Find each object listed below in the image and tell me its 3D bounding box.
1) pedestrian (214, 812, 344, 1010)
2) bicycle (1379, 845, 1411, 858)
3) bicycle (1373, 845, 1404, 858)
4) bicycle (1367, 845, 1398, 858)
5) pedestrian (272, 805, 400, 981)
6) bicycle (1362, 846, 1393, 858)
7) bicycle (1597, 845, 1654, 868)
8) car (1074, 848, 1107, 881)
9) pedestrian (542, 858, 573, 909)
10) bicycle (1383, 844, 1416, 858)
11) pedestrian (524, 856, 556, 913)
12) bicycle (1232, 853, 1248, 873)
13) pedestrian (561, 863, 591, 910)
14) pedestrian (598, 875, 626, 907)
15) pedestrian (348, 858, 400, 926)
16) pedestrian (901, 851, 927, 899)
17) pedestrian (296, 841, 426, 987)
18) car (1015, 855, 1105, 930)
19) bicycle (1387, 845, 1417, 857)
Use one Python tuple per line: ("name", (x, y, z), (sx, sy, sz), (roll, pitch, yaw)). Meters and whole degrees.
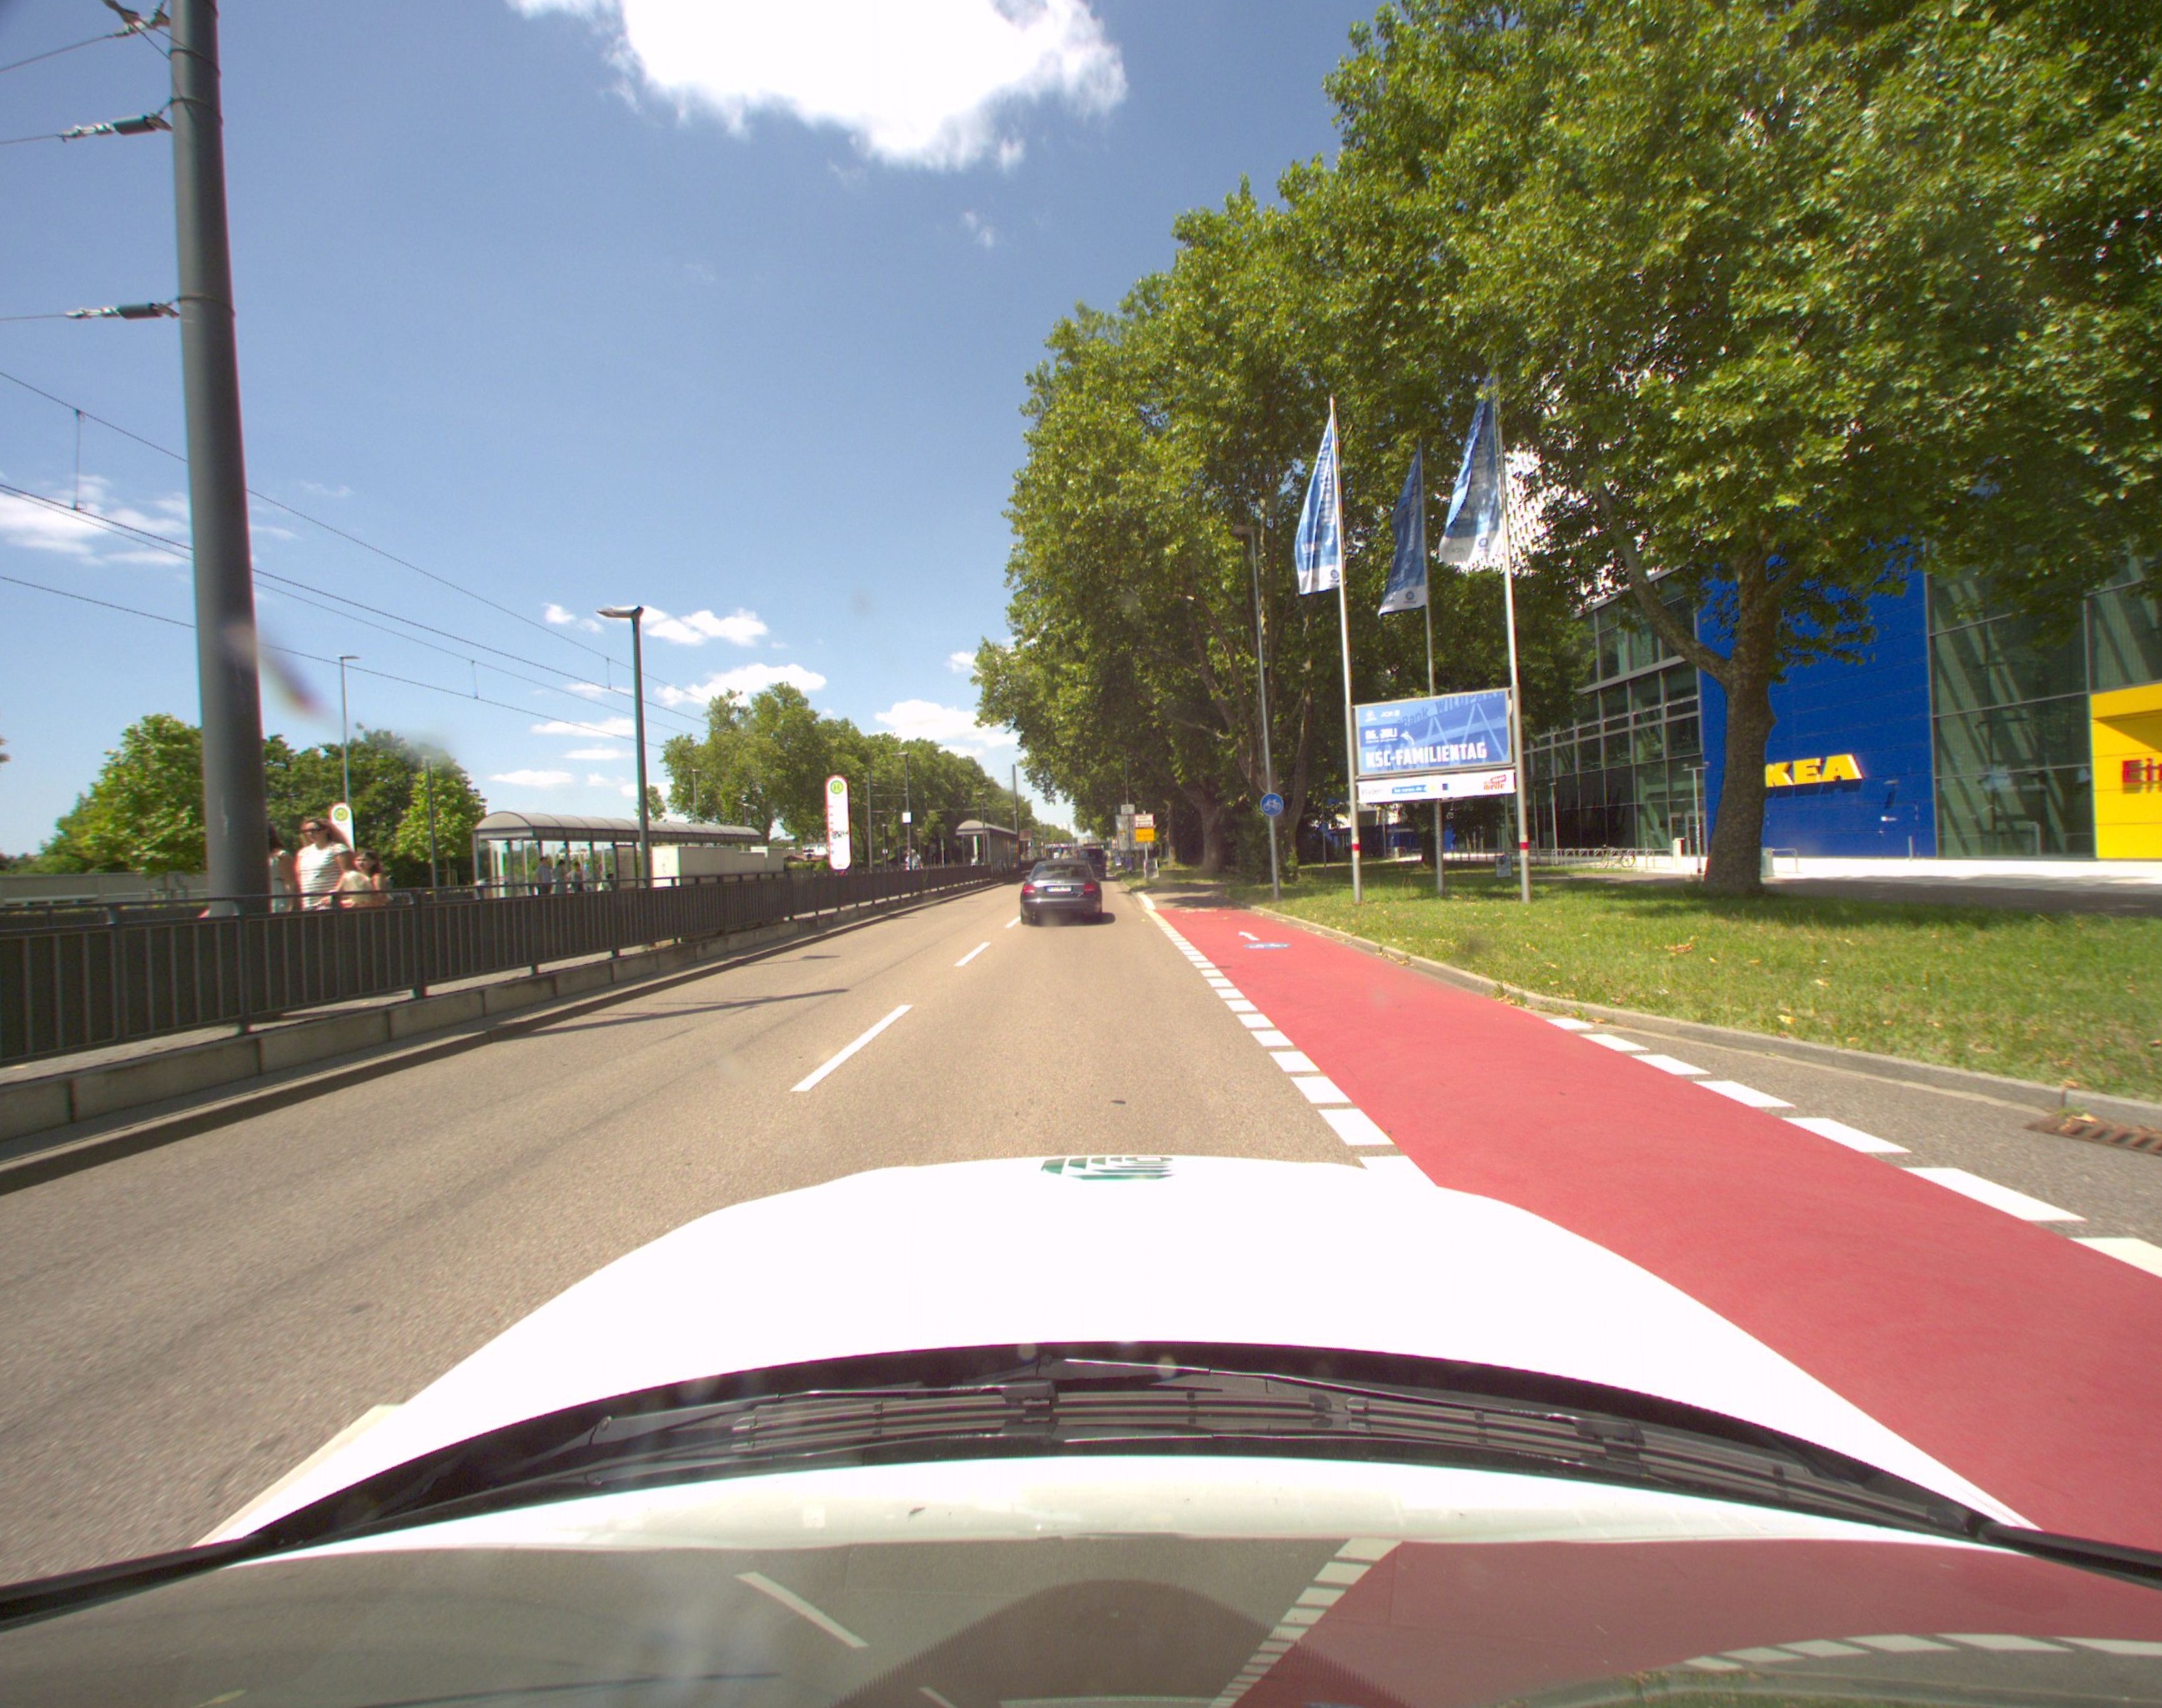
("pedestrian", (-6.732, 0.460, 6.858), (0.495, 1.578, 0.557), (-2, 0, 0))
("bicycle", (27.817, -0.210, 72.181), (2.540, 1.110, 0.757), (-2, 0, -4))
("bicycle", (27.664, -0.214, 73.266), (2.540, 1.110, 0.757), (-2, 0, -4))
("bicycle", (27.634, -0.198, 74.558), (2.540, 1.110, 0.757), (-2, 0, -4))
("pedestrian", (-7.455, 0.377, 8.179), (0.611, 1.681, 0.719), (-1, -1, -1))
("bicycle", (27.606, -0.181, 75.829), (2.540, 0.970, 0.757), (-2, 0, -4))
("bicycle", (24.815, 0.121, 37.119), (2.055, 0.969, 0.868), (-2, 0, -3))
("car", (0.637, 0.635, 50.957), (1.841, 1.959, 4.148), (-1, 0, 3))
("pedestrian", (-17.189, 0.953, 26.725), (0.817, 1.638, 0.582), (-2, 0, 38))
("bicycle", (27.867, -0.263, 71.231), (2.540, 1.110, 0.757), (-2, 0, -4))
("pedestrian", (-16.832, 0.959, 25.348), (0.729, 1.729, 0.582), (-2, 0, 38))
("bicycle", (11.694, 0.625, 60.055), (0.608, 1.420, 2.662), (-3, 0, 1))
("pedestrian", (-17.085, 1.093, 27.566), (0.574, 1.533, 0.639), (-2, 0, 2))
("pedestrian", (-16.952, 1.334, 29.444), (0.574, 1.094, 0.639), (-2, 0, 2))
("pedestrian", (-17.400, 0.915, 20.061), (0.556, 1.638, 0.805), (-2, 0, -6))
("pedestrian", (-5.909, 0.729, 28.889), (0.730, 1.665, 0.742), (-2, 0, 0))
("pedestrian", (-6.991, 0.562, 7.941), (0.611, 1.345, 0.719), (-1, -1, -1))
("car", (-0.393, 0.808, 19.049), (1.836, 1.484, 4.001), (-2, 0, 1))
("bicycle", (27.611, -0.274, 70.118), (2.311, 0.960, 0.757), (-2, 0, -4))
